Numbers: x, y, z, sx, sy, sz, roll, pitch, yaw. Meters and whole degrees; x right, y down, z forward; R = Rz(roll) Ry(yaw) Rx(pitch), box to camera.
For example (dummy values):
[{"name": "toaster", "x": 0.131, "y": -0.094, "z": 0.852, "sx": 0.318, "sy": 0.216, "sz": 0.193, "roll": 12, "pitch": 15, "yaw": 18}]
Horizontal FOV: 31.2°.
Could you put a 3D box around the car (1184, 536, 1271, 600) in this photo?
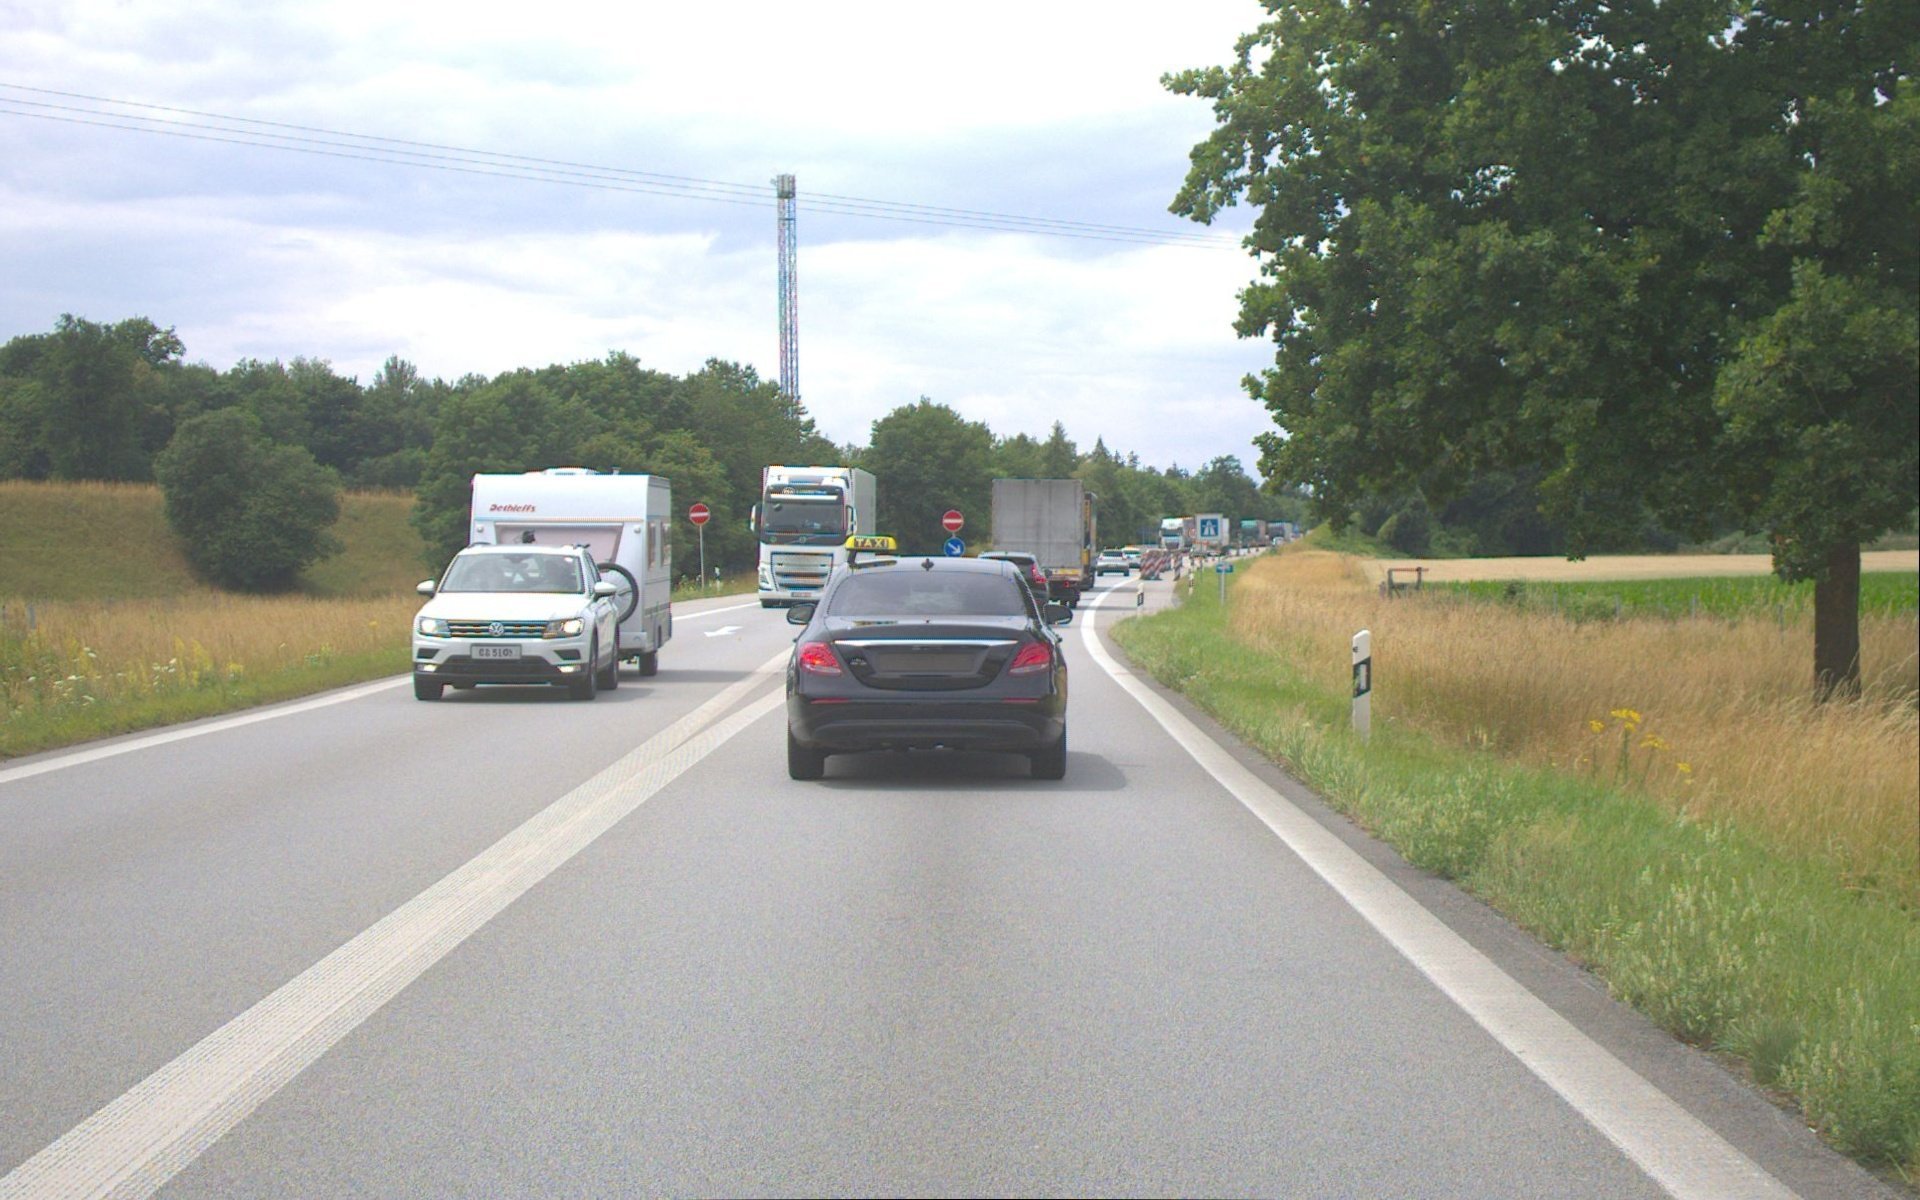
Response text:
[{"name": "car", "x": 7.244, "y": -0.874, "z": 93.402, "sx": 1.795, "sy": 1.657, "sz": 4.000, "roll": 1, "pitch": 0, "yaw": -4}]

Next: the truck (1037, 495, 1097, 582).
[{"name": "truck", "x": 4.422, "y": -2.511, "z": 142.758, "sx": 1.993, "sy": 3.513, "sz": 4.593, "roll": 1, "pitch": 0, "yaw": -4}]

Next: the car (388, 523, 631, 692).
[{"name": "car", "x": -4.721, "y": 0.065, "z": 36.620, "sx": 2.006, "sy": 1.652, "sz": 4.327, "roll": 1, "pitch": 0, "yaw": 0}]

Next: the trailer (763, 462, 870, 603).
[{"name": "trailer", "x": -4.234, "y": -2.022, "z": 103.739, "sx": 2.489, "sy": 3.982, "sz": 13.076, "roll": 0, "pitch": 1, "yaw": 1}]

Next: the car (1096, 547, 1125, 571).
[{"name": "car", "x": 9.266, "y": -2.515, "z": 211.677, "sx": 1.649, "sy": 1.391, "sz": 3.706, "roll": 1, "pitch": 0, "yaw": 1}]

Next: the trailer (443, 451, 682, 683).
[{"name": "trailer", "x": -4.742, "y": -0.383, "z": 41.965, "sx": 2.182, "sy": 2.566, "sz": 6.244, "roll": 1, "pitch": 0, "yaw": 0}]

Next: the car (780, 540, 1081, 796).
[{"name": "car", "x": -0.286, "y": 0.415, "z": 23.439, "sx": 1.795, "sy": 1.554, "sz": 4.000, "roll": 1, "pitch": 0, "yaw": -4}]

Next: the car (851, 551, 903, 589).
[{"name": "car", "x": -3.345, "y": -1.204, "z": 139.190, "sx": 1.857, "sy": 1.474, "sz": 5.198, "roll": 1, "pitch": 0, "yaw": 1}]

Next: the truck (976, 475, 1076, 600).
[{"name": "truck", "x": 1.956, "y": -1.780, "z": 99.997, "sx": 2.587, "sy": 3.512, "sz": 4.812, "roll": 1, "pitch": 0, "yaw": 4}]

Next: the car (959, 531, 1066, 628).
[{"name": "car", "x": 1.119, "y": -0.449, "z": 75.104, "sx": 1.993, "sy": 2.007, "sz": 4.000, "roll": 1, "pitch": 0, "yaw": -4}]

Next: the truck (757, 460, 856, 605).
[{"name": "truck", "x": -4.301, "y": -1.895, "z": 97.242, "sx": 2.489, "sy": 3.982, "sz": 5.204, "roll": 0, "pitch": 1, "yaw": 1}]

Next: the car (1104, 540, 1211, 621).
[{"name": "car", "x": 4.217, "y": -0.414, "z": 74.095, "sx": 1.795, "sy": 1.657, "sz": 4.000, "roll": 1, "pitch": 0, "yaw": -4}]

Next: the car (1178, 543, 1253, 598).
[{"name": "car", "x": 7.991, "y": -0.917, "z": 107.882, "sx": 1.795, "sy": 1.657, "sz": 4.000, "roll": 1, "pitch": 0, "yaw": -4}]

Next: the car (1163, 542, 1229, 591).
[{"name": "car", "x": 8.350, "y": -1.177, "z": 121.887, "sx": 1.795, "sy": 1.657, "sz": 4.000, "roll": 1, "pitch": 0, "yaw": -4}]
